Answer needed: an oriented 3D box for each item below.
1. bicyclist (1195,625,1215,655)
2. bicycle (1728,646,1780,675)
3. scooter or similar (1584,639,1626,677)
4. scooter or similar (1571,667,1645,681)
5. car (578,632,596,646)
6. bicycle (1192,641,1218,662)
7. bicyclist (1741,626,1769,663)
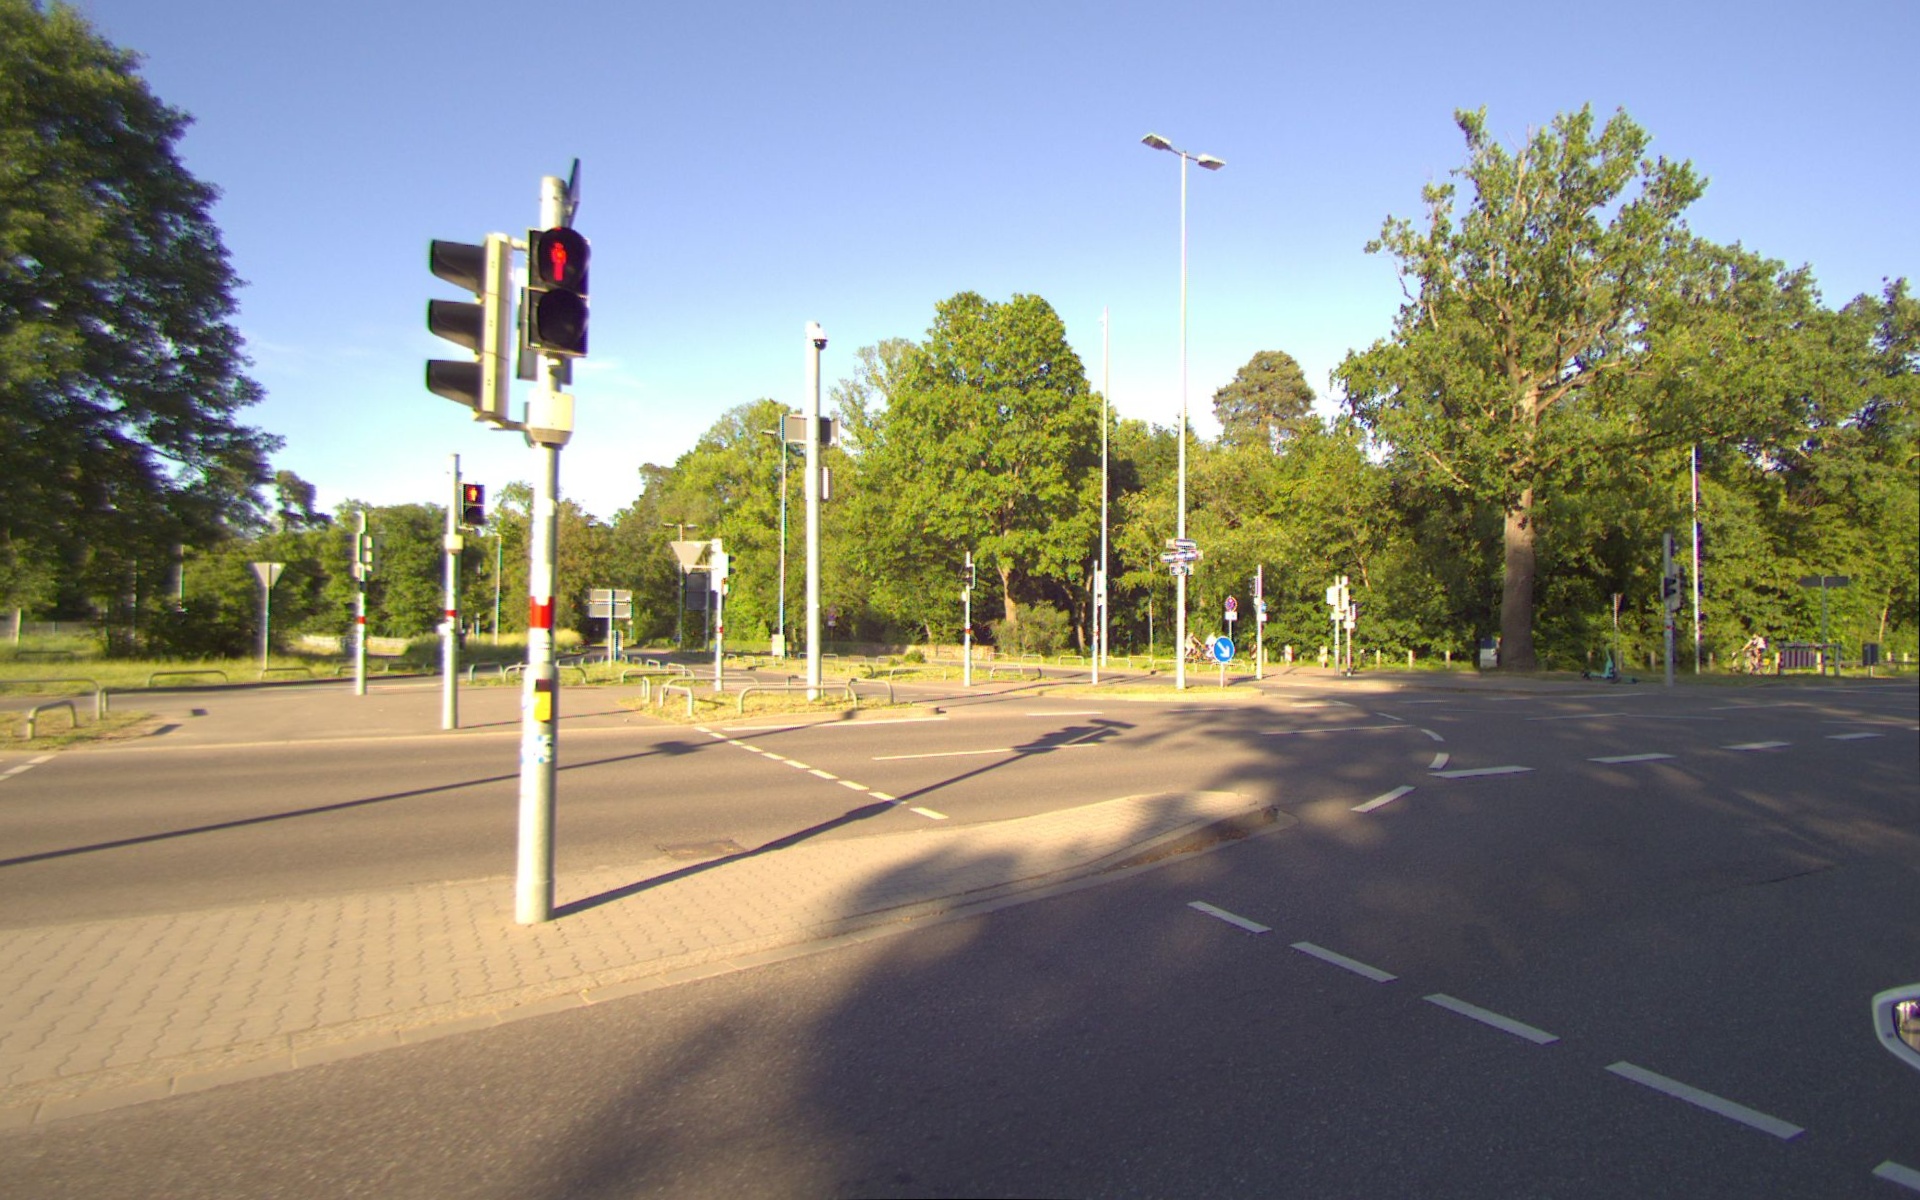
[{"bbox_3d":[12.504,2.056,51.304,0.716,1.502,0.799,1,-1,-8],"label":"bicyclist"},{"bbox_3d":[34.941,2.657,44.224,1.949,1.169,0.681,-1,0,-11],"label":"bicycle"},{"bbox_3d":[20.110,1.791,31.318,0.388,1.162,1.065,0,-2,-21],"label":"scooter or similar"},{"bbox_3d":[19.358,2.197,30.015,1.241,0.344,1.405,0,-2,-21],"label":"scooter or similar"},{"bbox_3d":[-43.181,4.507,116.195,1.634,1.530,3.977,2,-1,-24],"label":"car"},{"bbox_3d":[12.491,2.624,51.264,0.770,0.990,1.589,1,-1,-7],"label":"bicycle"},{"bbox_3d":[35.012,1.942,44.230,0.786,1.572,0.563,-1,0,-12],"label":"bicyclist"}]
